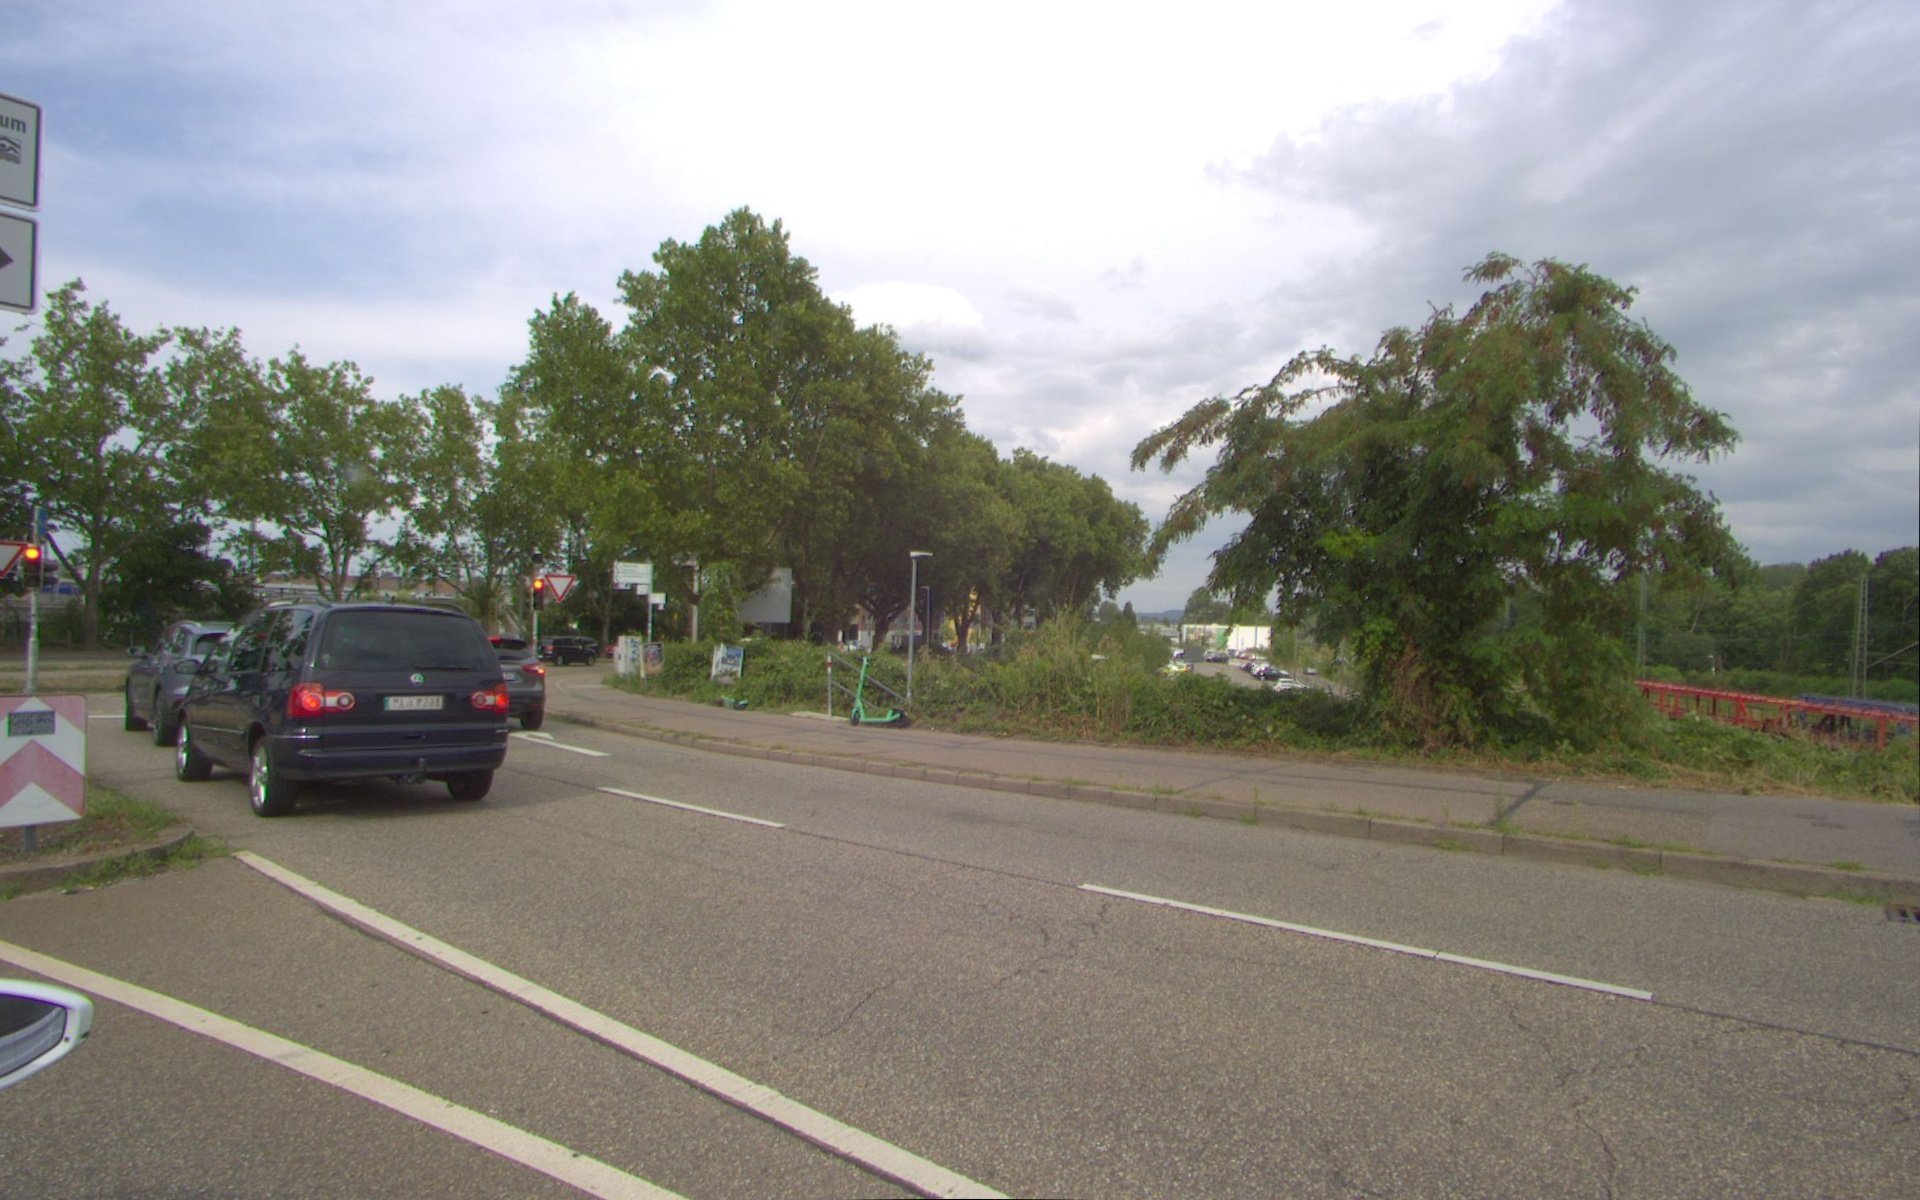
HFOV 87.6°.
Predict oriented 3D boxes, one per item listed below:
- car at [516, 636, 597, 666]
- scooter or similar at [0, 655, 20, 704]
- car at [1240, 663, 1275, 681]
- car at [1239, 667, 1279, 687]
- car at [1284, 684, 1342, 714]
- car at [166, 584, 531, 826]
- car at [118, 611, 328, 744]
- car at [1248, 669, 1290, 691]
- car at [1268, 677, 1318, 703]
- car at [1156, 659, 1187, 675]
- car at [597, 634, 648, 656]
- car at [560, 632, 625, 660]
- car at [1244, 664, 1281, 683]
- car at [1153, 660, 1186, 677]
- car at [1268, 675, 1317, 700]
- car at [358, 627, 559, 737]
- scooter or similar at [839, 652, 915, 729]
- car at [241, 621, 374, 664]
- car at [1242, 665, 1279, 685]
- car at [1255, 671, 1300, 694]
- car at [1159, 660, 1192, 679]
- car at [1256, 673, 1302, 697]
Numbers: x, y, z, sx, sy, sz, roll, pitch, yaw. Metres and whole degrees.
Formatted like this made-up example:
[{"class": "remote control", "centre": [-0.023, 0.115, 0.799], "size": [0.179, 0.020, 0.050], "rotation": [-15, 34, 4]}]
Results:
[{"class": "car", "centre": [-20.322, 2.553, 50.618], "size": [1.671, 1.385, 4.067], "rotation": [0, -2, 16]}, {"class": "scooter or similar", "centre": [-17.771, 1.405, 17.146], "size": [0.793, 0.860, 2.385], "rotation": [1, -1, 14]}, {"class": "car", "centre": [36.917, 8.887, 124.411], "size": [3.923, 2.040, 1.762], "rotation": [1, -1, 10]}, {"class": "car", "centre": [32.900, 8.456, 110.278], "size": [3.923, 2.040, 1.762], "rotation": [1, -1, 10]}, {"class": "car", "centre": [26.892, 7.512, 76.371], "size": [3.923, 2.040, 1.762], "rotation": [1, -1, 10]}, {"class": "car", "centre": [-5.788, 0.853, 9.274], "size": [4.092, 1.746, 1.743], "rotation": [-1, -4, 42]}, {"class": "car", "centre": [-10.536, 1.039, 14.201], "size": [4.113, 1.604, 1.682], "rotation": [-2, -4, 44]}, {"class": "car", "centre": [32.110, 8.295, 104.249], "size": [3.923, 2.040, 1.762], "rotation": [1, -1, 10]}, {"class": "car", "centre": [28.970, 7.817, 87.186], "size": [3.923, 2.040, 1.762], "rotation": [1, -1, 10]}, {"class": "car", "centre": [28.018, 8.858, 132.503], "size": [3.926, 2.040, 1.761], "rotation": [1, -1, 16]}, {"class": "car", "centre": [-24.341, 3.212, 72.418], "size": [1.670, 1.466, 3.963], "rotation": [0, -1, 12]}, {"class": "car", "centre": [-22.844, 2.810, 62.340], "size": [1.876, 1.616, 3.909], "rotation": [1, -1, 15]}, {"class": "car", "centre": [36.120, 8.754, 119.579], "size": [3.923, 2.040, 1.762], "rotation": [1, -1, 10]}, {"class": "car", "centre": [26.714, 8.713, 127.674], "size": [3.926, 2.040, 1.761], "rotation": [1, -1, 16]}, {"class": "car", "centre": [30.023, 7.921, 90.498], "size": [3.923, 2.040, 1.762], "rotation": [1, -1, 10]}, {"class": "car", "centre": [-8.663, 1.334, 17.146], "size": [4.094, 1.663, 1.742], "rotation": [-2, -4, 44]}, {"class": "scooter or similar", "centre": [-1.368, 1.461, 16.444], "size": [1.262, 1.198, 0.396], "rotation": [-1, -1, 32]}, {"class": "car", "centre": [-24.059, 1.558, 37.106], "size": [1.671, 1.469, 4.068], "rotation": [0, -2, 14]}, {"class": "car", "centre": [34.697, 8.626, 115.634], "size": [3.923, 2.040, 1.762], "rotation": [1, -1, 10]}, {"class": "car", "centre": [31.224, 8.140, 98.591], "size": [3.923, 2.040, 1.762], "rotation": [1, -1, 10]}, {"class": "car", "centre": [26.844, 8.648, 124.775], "size": [3.926, 2.040, 1.761], "rotation": [1, -1, 16]}, {"class": "car", "centre": [30.174, 8.026, 94.819], "size": [3.923, 2.040, 1.762], "rotation": [1, -1, 10]}]
